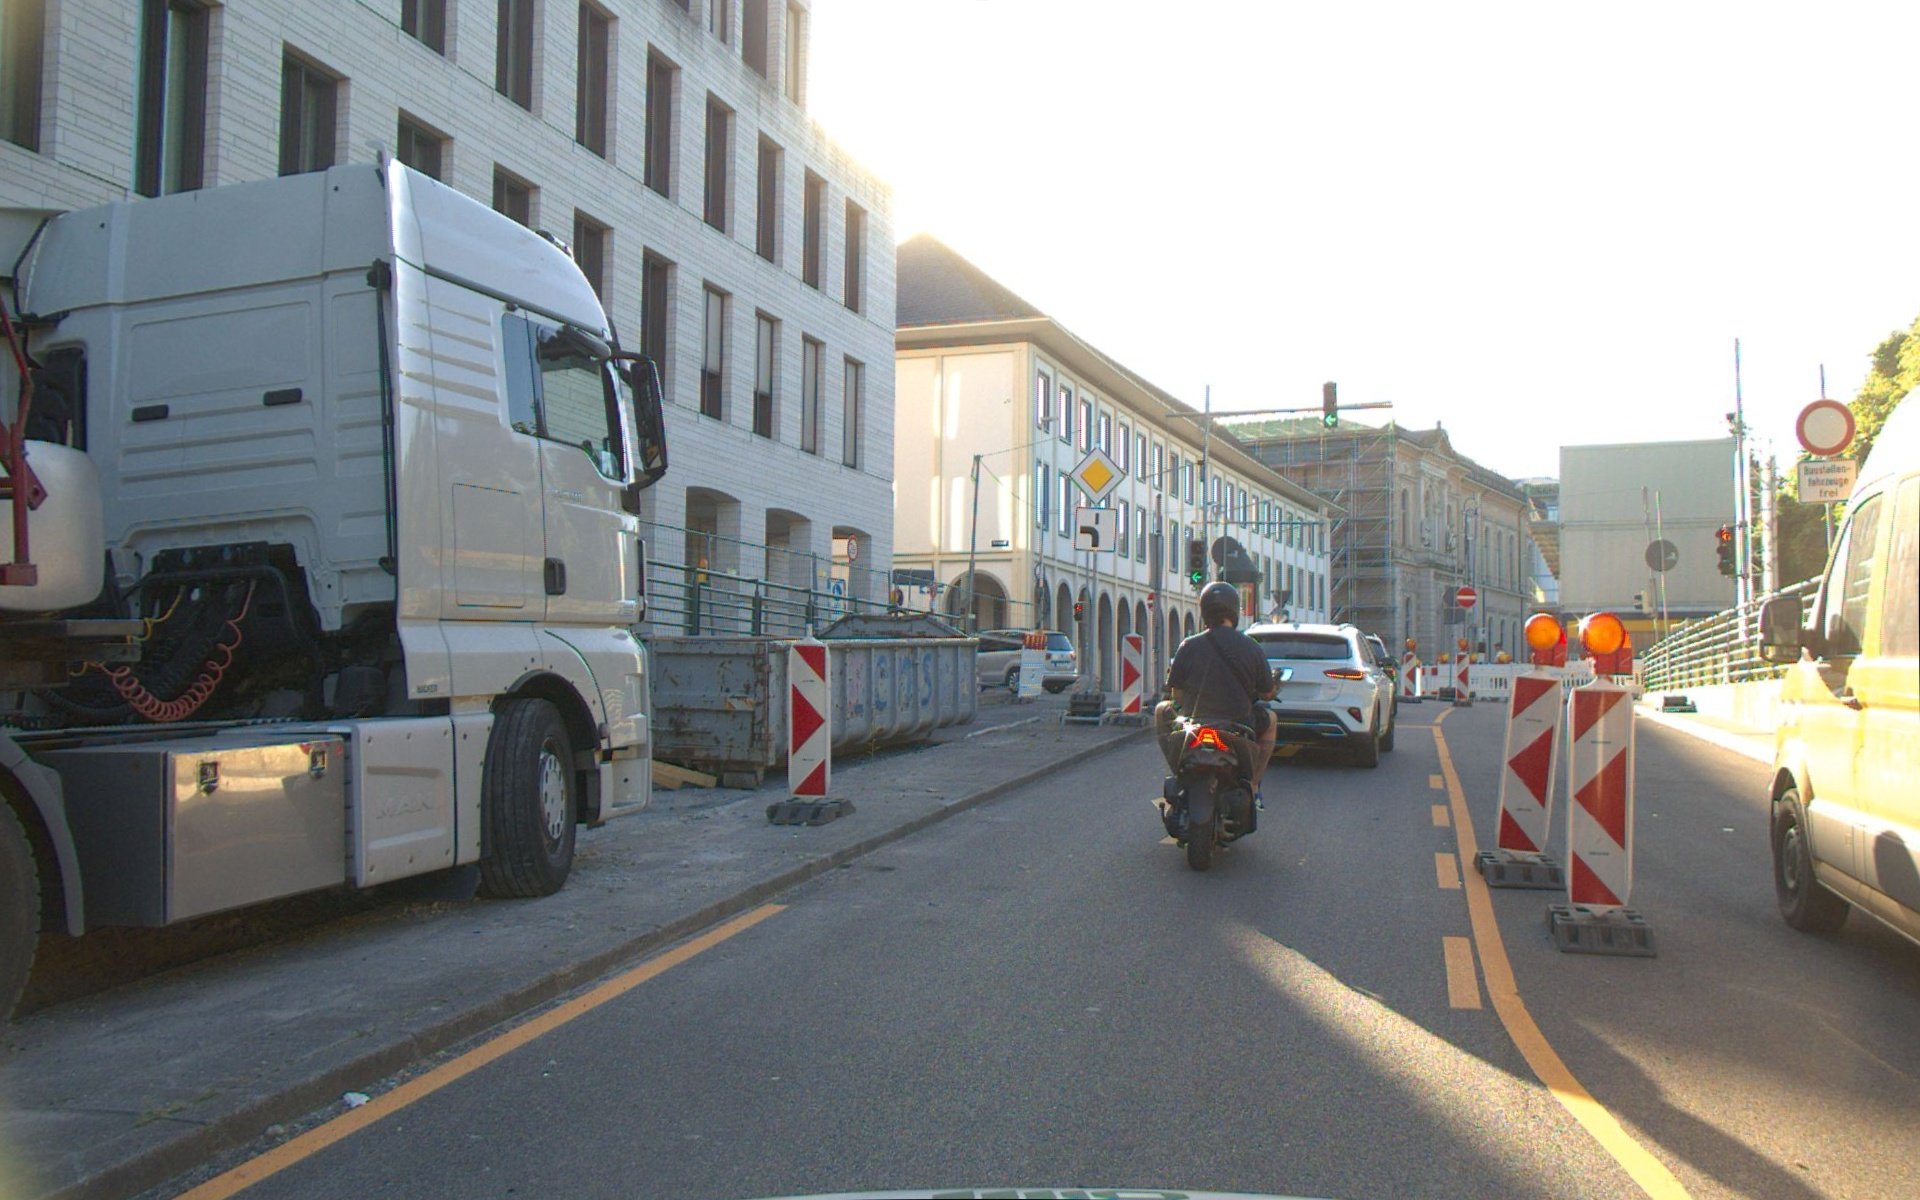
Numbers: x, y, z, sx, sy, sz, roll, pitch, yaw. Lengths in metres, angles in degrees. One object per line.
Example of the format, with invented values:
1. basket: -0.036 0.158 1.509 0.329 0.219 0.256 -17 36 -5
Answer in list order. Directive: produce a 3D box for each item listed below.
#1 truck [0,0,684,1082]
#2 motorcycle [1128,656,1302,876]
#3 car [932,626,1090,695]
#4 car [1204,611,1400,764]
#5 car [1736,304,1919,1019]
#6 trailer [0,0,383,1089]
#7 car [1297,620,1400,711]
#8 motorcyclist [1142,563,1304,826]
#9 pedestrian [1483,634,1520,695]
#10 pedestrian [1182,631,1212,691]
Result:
1. truck: -3.667 -0.244 7.068 2.525 3.550 5.819 -4 -2 15
2. motorcycle: 1.719 0.988 10.751 0.886 1.204 2.580 0 -1 14
3. car: 1.371 1.613 45.259 4.081 1.751 1.801 0 0 37
4. car: 3.971 0.939 18.719 1.820 1.498 4.002 1 -2 17
5. car: 4.520 0.227 5.670 2.067 2.671 6.992 0 -1 14
6. trailer: -4.711 -0.373 2.796 2.586 3.733 8.755 -4 -2 13
7. car: 7.241 1.233 30.842 1.736 1.578 4.109 -1 -3 13
8. motorcyclist: 1.729 0.582 10.735 0.933 1.587 1.240 0 -1 14
9. pedestrian: 15.922 1.895 48.643 0.954 1.759 0.798 -2 -4 20
10. pedestrian: 7.266 1.866 50.732 0.757 1.833 0.711 -1 -1 20
